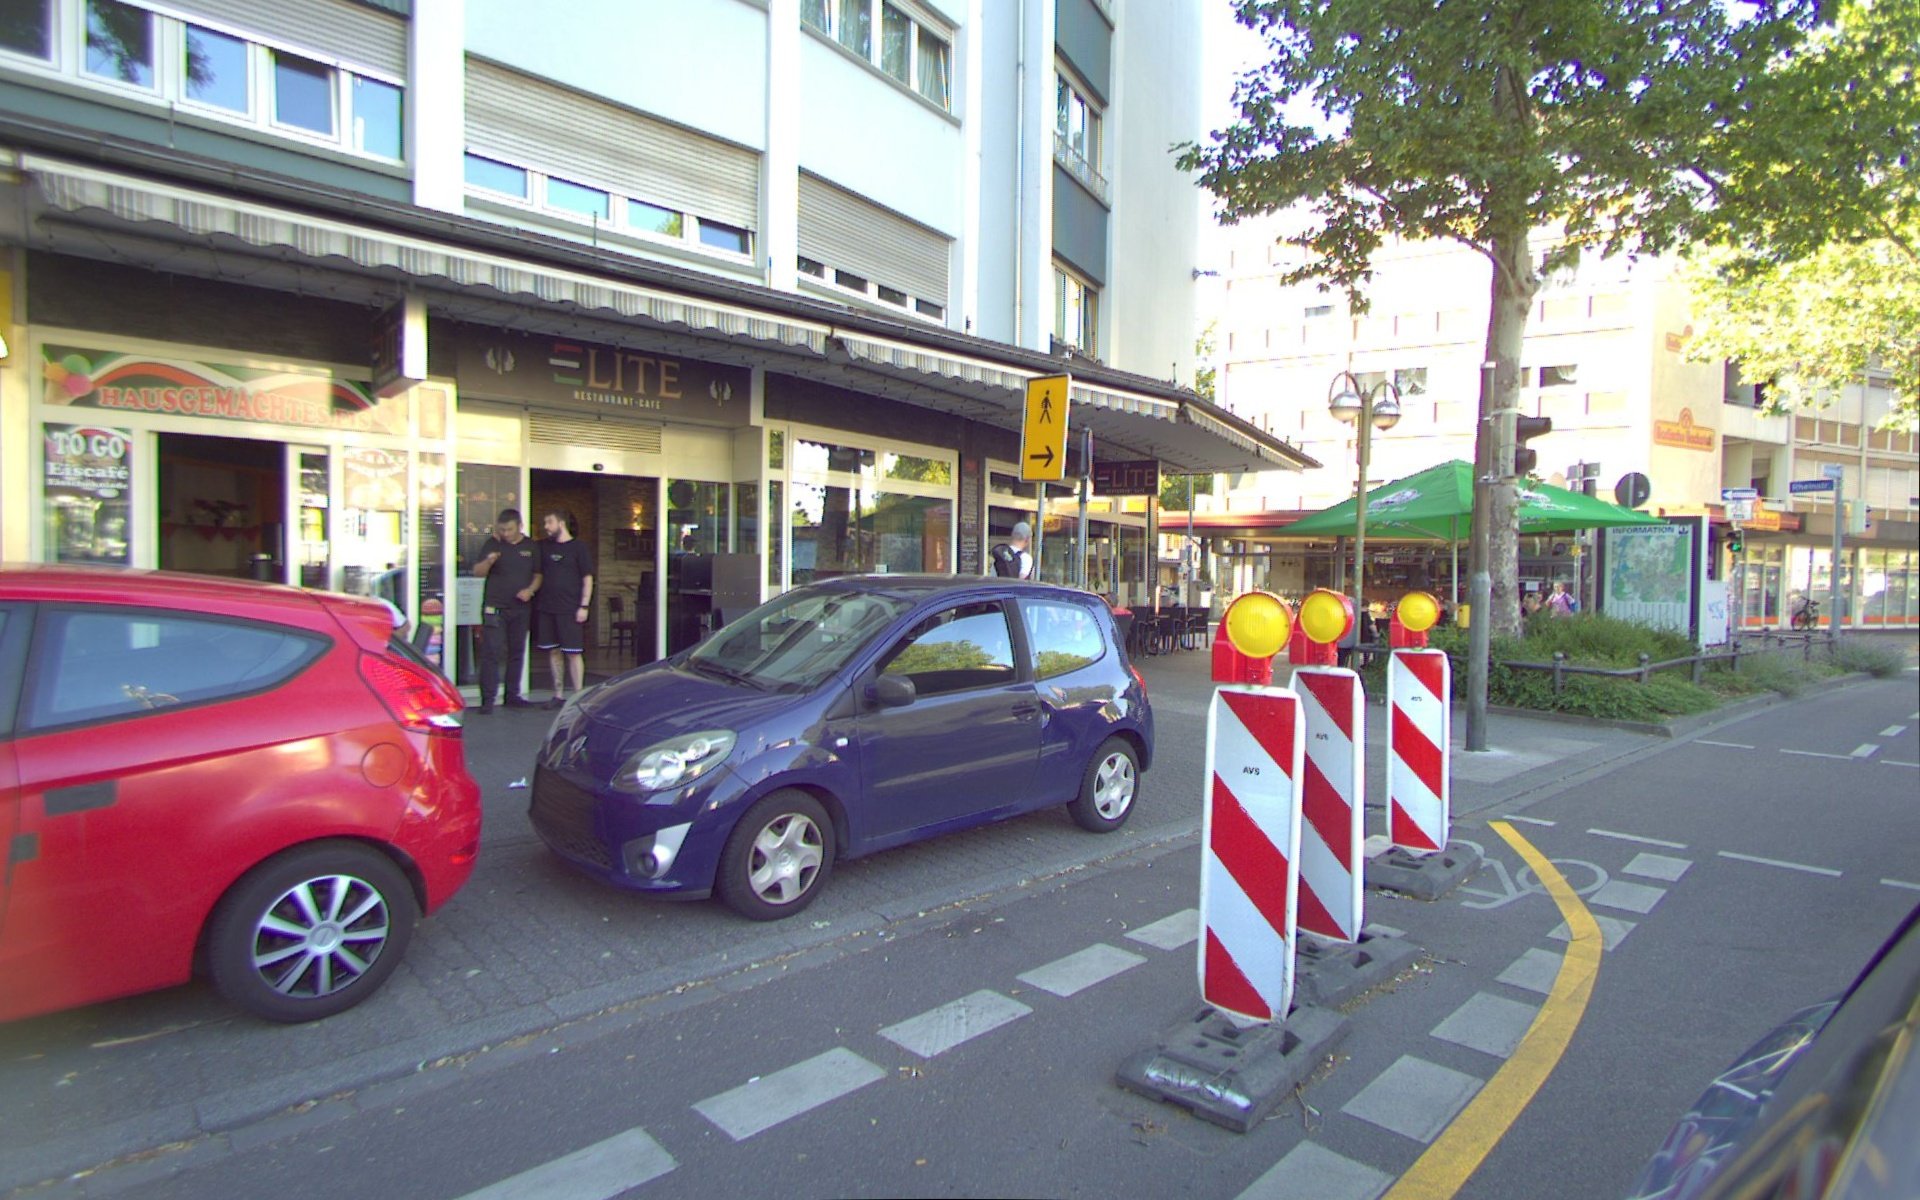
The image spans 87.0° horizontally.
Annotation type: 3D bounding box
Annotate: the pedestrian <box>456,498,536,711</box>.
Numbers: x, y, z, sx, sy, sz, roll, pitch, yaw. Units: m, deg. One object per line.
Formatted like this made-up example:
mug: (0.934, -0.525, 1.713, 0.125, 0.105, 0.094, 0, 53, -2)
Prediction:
pedestrian: (-4.075, 0.023, 8.893, 0.547, 1.800, 0.395, -1, 4, -43)

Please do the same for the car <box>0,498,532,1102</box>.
car: (-3.524, 0.486, 2.996, 3.761, 1.614, 1.784, -1, 5, -45)

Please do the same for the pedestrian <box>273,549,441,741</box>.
pedestrian: (-4.681, 0.297, 7.842, 0.937, 1.352, 1.069, 0, 2, -42)

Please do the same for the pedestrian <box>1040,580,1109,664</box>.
pedestrian: (1.711, 0.307, 15.113, 0.776, 1.207, 0.648, 0, 1, -34)

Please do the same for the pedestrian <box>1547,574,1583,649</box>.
pedestrian: (13.640, 0.255, 22.814, 0.624, 1.657, 0.525, 2, 1, 34)

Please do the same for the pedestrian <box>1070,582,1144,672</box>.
pedestrian: (2.057, 0.358, 14.252, 0.685, 1.207, 0.881, 0, 1, -18)

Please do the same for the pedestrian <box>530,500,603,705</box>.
pedestrian: (-3.545, 0.015, 9.132, 0.545, 1.803, 0.397, 1, 3, -11)

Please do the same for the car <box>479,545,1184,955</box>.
car: (-0.535, 0.522, 5.695, 3.551, 1.485, 1.769, -1, 5, -44)

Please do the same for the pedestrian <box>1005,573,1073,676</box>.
pedestrian: (1.047, 0.311, 13.605, 0.685, 1.323, 0.793, 1, 1, -13)

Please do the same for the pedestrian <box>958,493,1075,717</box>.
pedestrian: (0.535, 0.031, 9.520, 0.874, 1.983, 0.648, 0, 1, -41)
